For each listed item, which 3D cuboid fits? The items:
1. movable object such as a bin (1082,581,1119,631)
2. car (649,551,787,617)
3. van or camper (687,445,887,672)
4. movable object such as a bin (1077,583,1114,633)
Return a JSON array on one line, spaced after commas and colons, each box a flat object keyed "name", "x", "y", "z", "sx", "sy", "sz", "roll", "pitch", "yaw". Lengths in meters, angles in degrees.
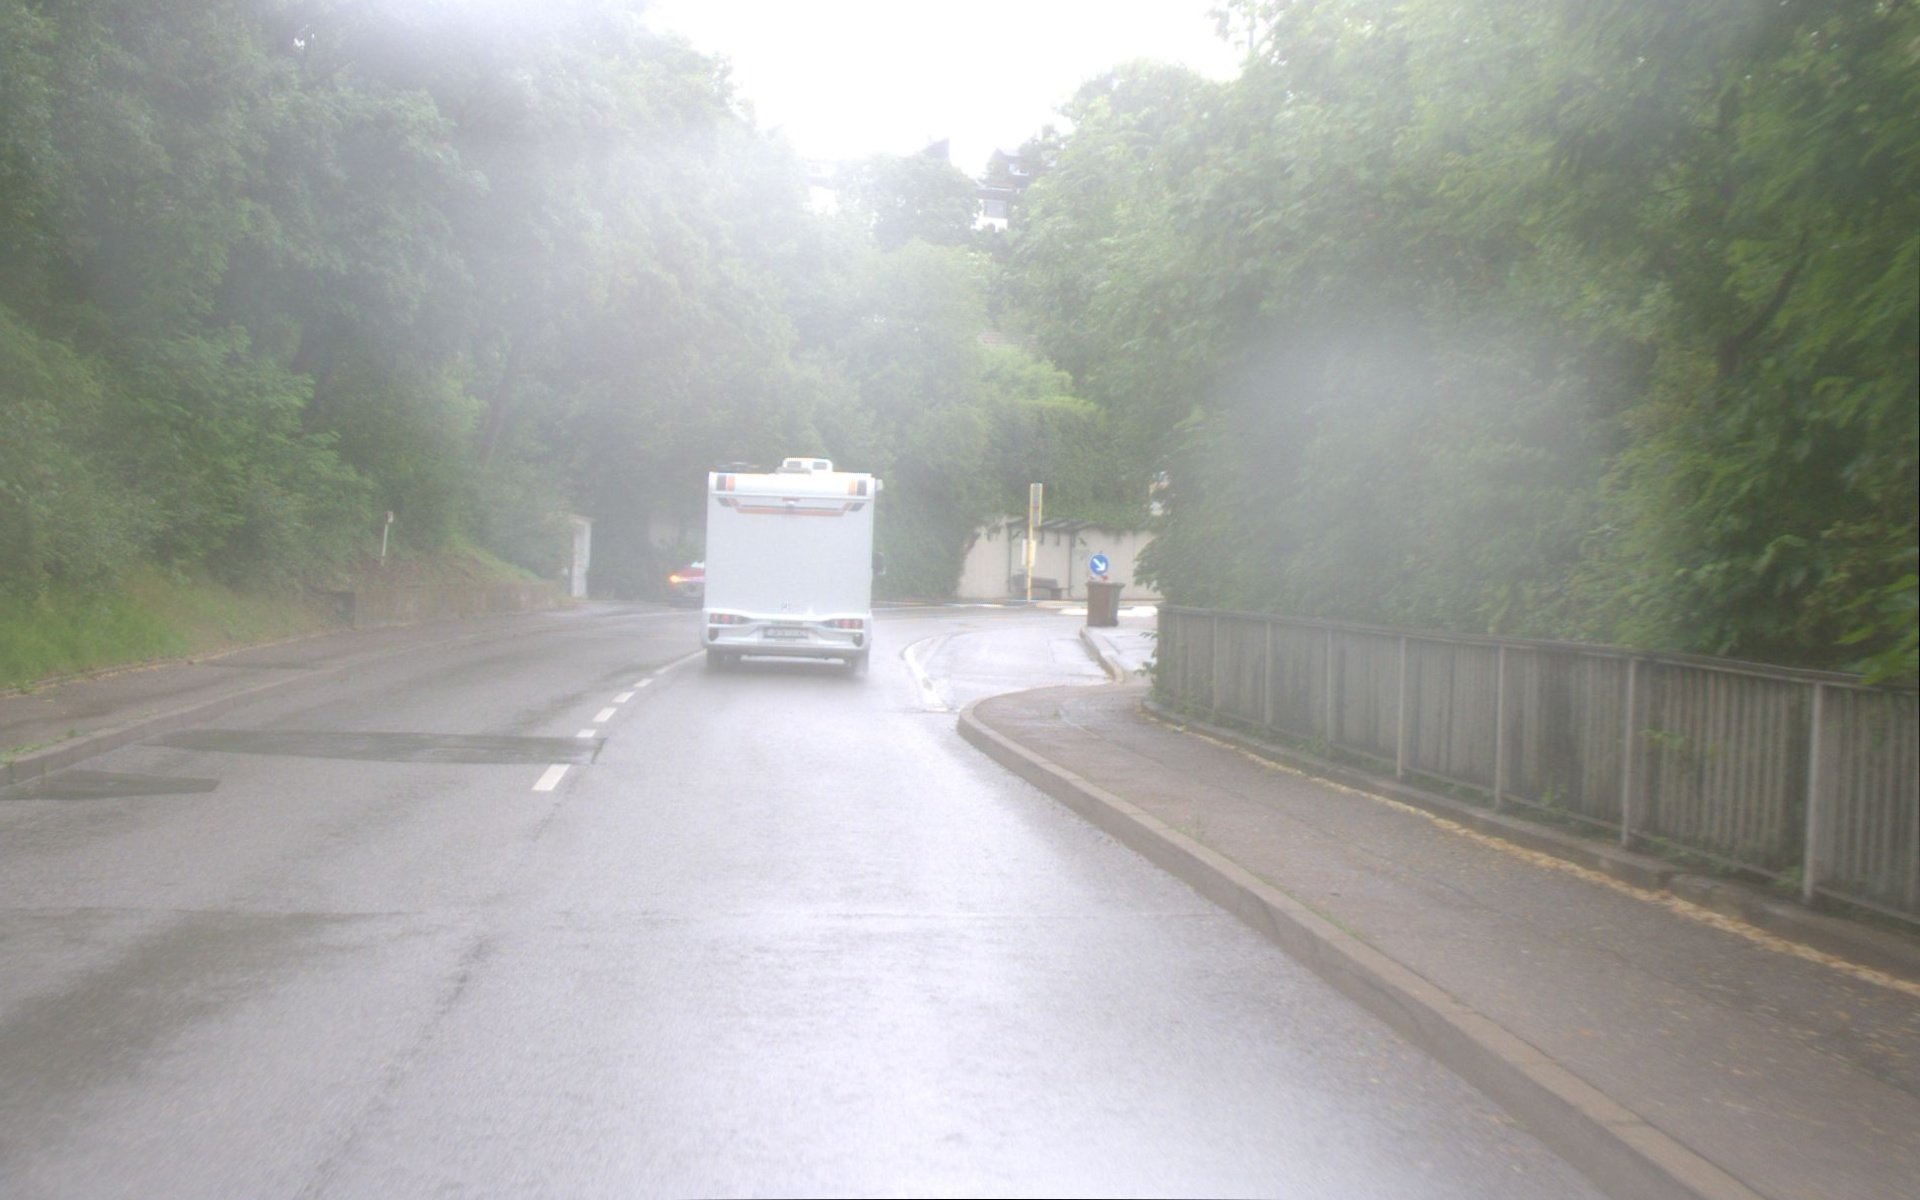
[{"name": "movable object such as a bin", "x": 3.328, "y": 0.140, "z": 81.567, "sx": 0.778, "sy": 1.129, "sz": 0.738, "roll": 2, "pitch": 0, "yaw": 7}, {"name": "car", "x": -6.193, "y": -0.419, "z": 88.497, "sx": 1.995, "sy": 1.556, "sz": 4.649, "roll": 3, "pitch": 1, "yaw": 16}, {"name": "van or camper", "x": -2.490, "y": -0.538, "z": 48.049, "sx": 2.540, "sy": 2.915, "sz": 5.948, "roll": -2, "pitch": 0, "yaw": -4}, {"name": "movable object such as a bin", "x": 3.158, "y": 0.181, "z": 80.093, "sx": 0.778, "sy": 1.129, "sz": 0.738, "roll": 2, "pitch": 0, "yaw": 7}]
